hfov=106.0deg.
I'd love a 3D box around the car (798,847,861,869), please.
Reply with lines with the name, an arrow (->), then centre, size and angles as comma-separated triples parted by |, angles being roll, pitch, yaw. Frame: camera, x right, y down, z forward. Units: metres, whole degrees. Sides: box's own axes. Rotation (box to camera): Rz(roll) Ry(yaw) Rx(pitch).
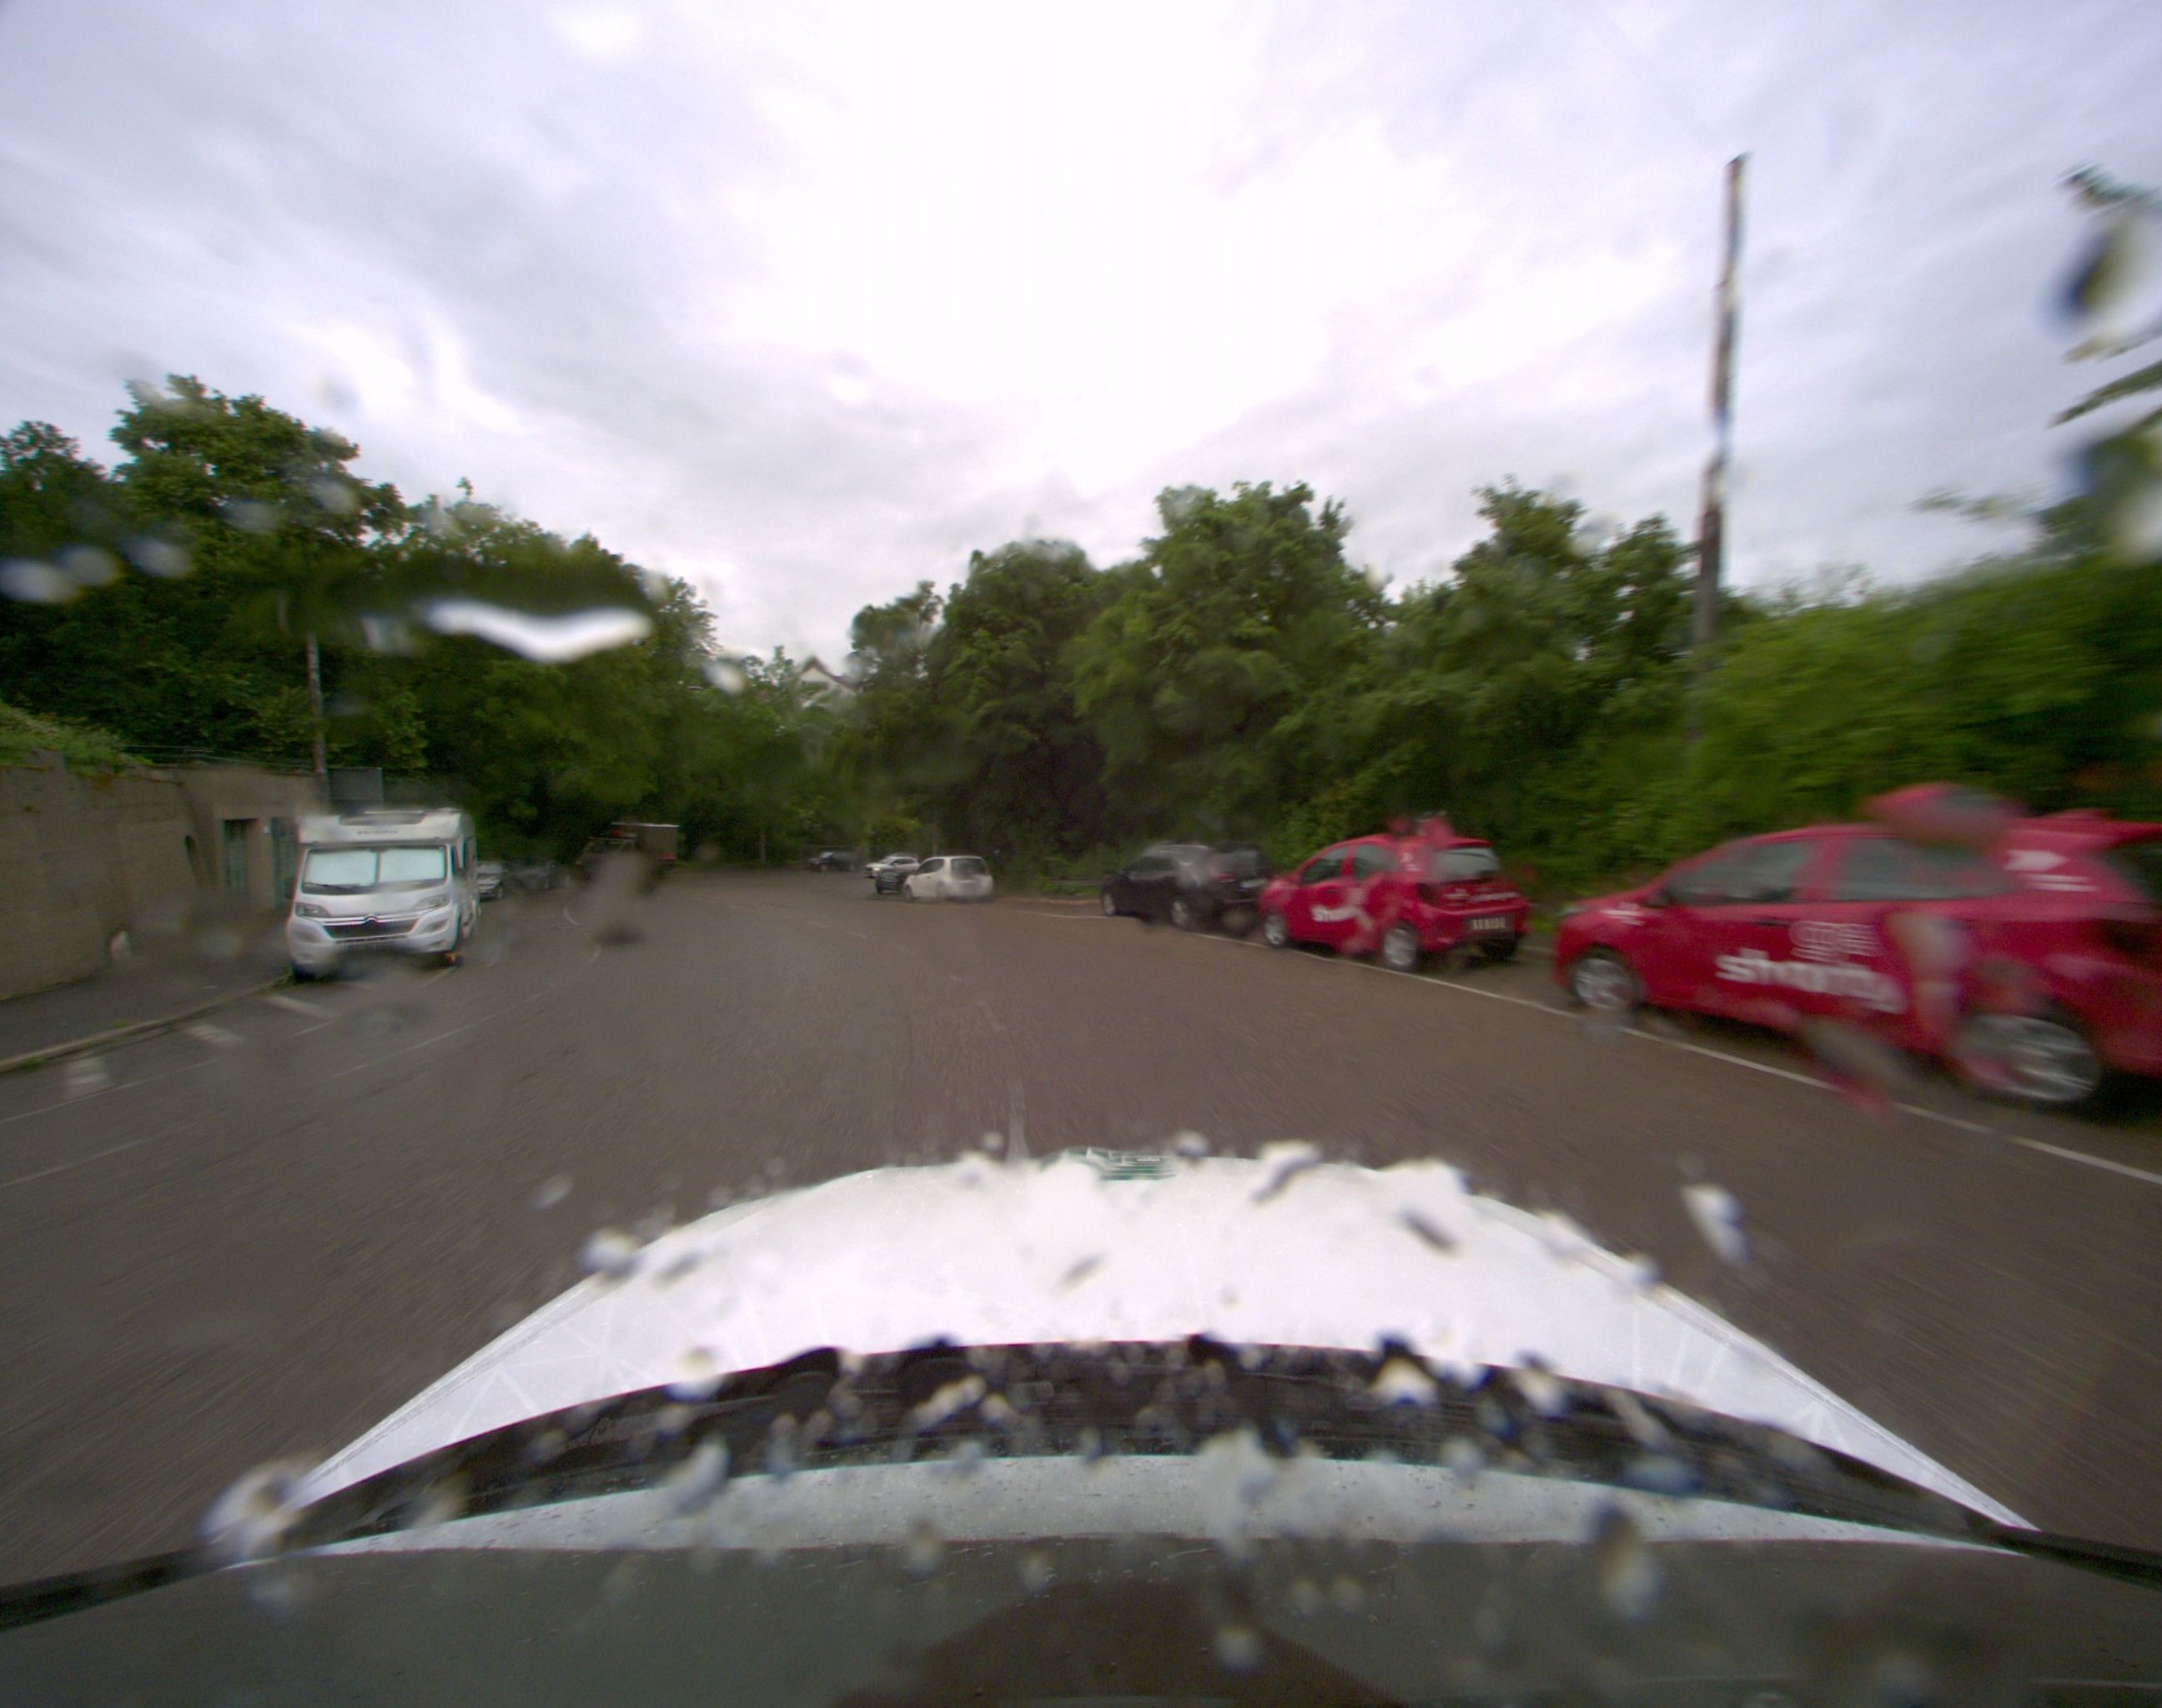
car -> -19.143, 0.263, 62.145 | 1.762, 1.465, 4.340 | 6, 3, 34

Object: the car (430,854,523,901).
car -> -22.222, 0.810, 30.128 | 1.706, 1.498, 4.495 | 0, 1, -23

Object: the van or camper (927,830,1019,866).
van or camper -> -9.396, -0.501, 71.227 | 7.686, 2.931, 2.181 | 1, 5, -31

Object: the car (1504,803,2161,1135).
car -> 5.096, 0.484, 5.652 | 1.644, 1.460, 3.785 | -3, 1, -16

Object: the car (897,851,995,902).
car -> -4.382, 0.708, 26.094 | 1.597, 1.502, 3.626 | 0, -1, -37

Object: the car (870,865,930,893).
car -> -10.744, 1.434, 48.637 | 1.637, 1.465, 4.050 | 5, 1, 16

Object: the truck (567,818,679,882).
truck -> -24.556, -0.226, 44.070 | 2.026, 3.103, 6.616 | 3, 0, 2

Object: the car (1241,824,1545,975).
car -> 3.736, 0.449, 10.428 | 1.564, 1.513, 3.649 | -3, 2, -21

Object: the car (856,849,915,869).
car -> -15.976, 0.411, 66.553 | 4.335, 1.355, 1.739 | 1, 4, -41

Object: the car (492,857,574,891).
car -> -23.822, 0.820, 35.578 | 1.702, 1.275, 4.225 | 0, 1, -15

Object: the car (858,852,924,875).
car -> -14.011, 0.720, 60.105 | 1.782, 1.570, 4.482 | 1, 0, 44

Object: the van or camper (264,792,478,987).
van or camper -> -12.789, 0.456, 15.200 | 2.172, 2.788, 6.974 | -4, 3, -35

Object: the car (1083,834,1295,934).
car -> 1.815, 0.462, 15.307 | 1.727, 1.513, 4.557 | -3, 1, -25
